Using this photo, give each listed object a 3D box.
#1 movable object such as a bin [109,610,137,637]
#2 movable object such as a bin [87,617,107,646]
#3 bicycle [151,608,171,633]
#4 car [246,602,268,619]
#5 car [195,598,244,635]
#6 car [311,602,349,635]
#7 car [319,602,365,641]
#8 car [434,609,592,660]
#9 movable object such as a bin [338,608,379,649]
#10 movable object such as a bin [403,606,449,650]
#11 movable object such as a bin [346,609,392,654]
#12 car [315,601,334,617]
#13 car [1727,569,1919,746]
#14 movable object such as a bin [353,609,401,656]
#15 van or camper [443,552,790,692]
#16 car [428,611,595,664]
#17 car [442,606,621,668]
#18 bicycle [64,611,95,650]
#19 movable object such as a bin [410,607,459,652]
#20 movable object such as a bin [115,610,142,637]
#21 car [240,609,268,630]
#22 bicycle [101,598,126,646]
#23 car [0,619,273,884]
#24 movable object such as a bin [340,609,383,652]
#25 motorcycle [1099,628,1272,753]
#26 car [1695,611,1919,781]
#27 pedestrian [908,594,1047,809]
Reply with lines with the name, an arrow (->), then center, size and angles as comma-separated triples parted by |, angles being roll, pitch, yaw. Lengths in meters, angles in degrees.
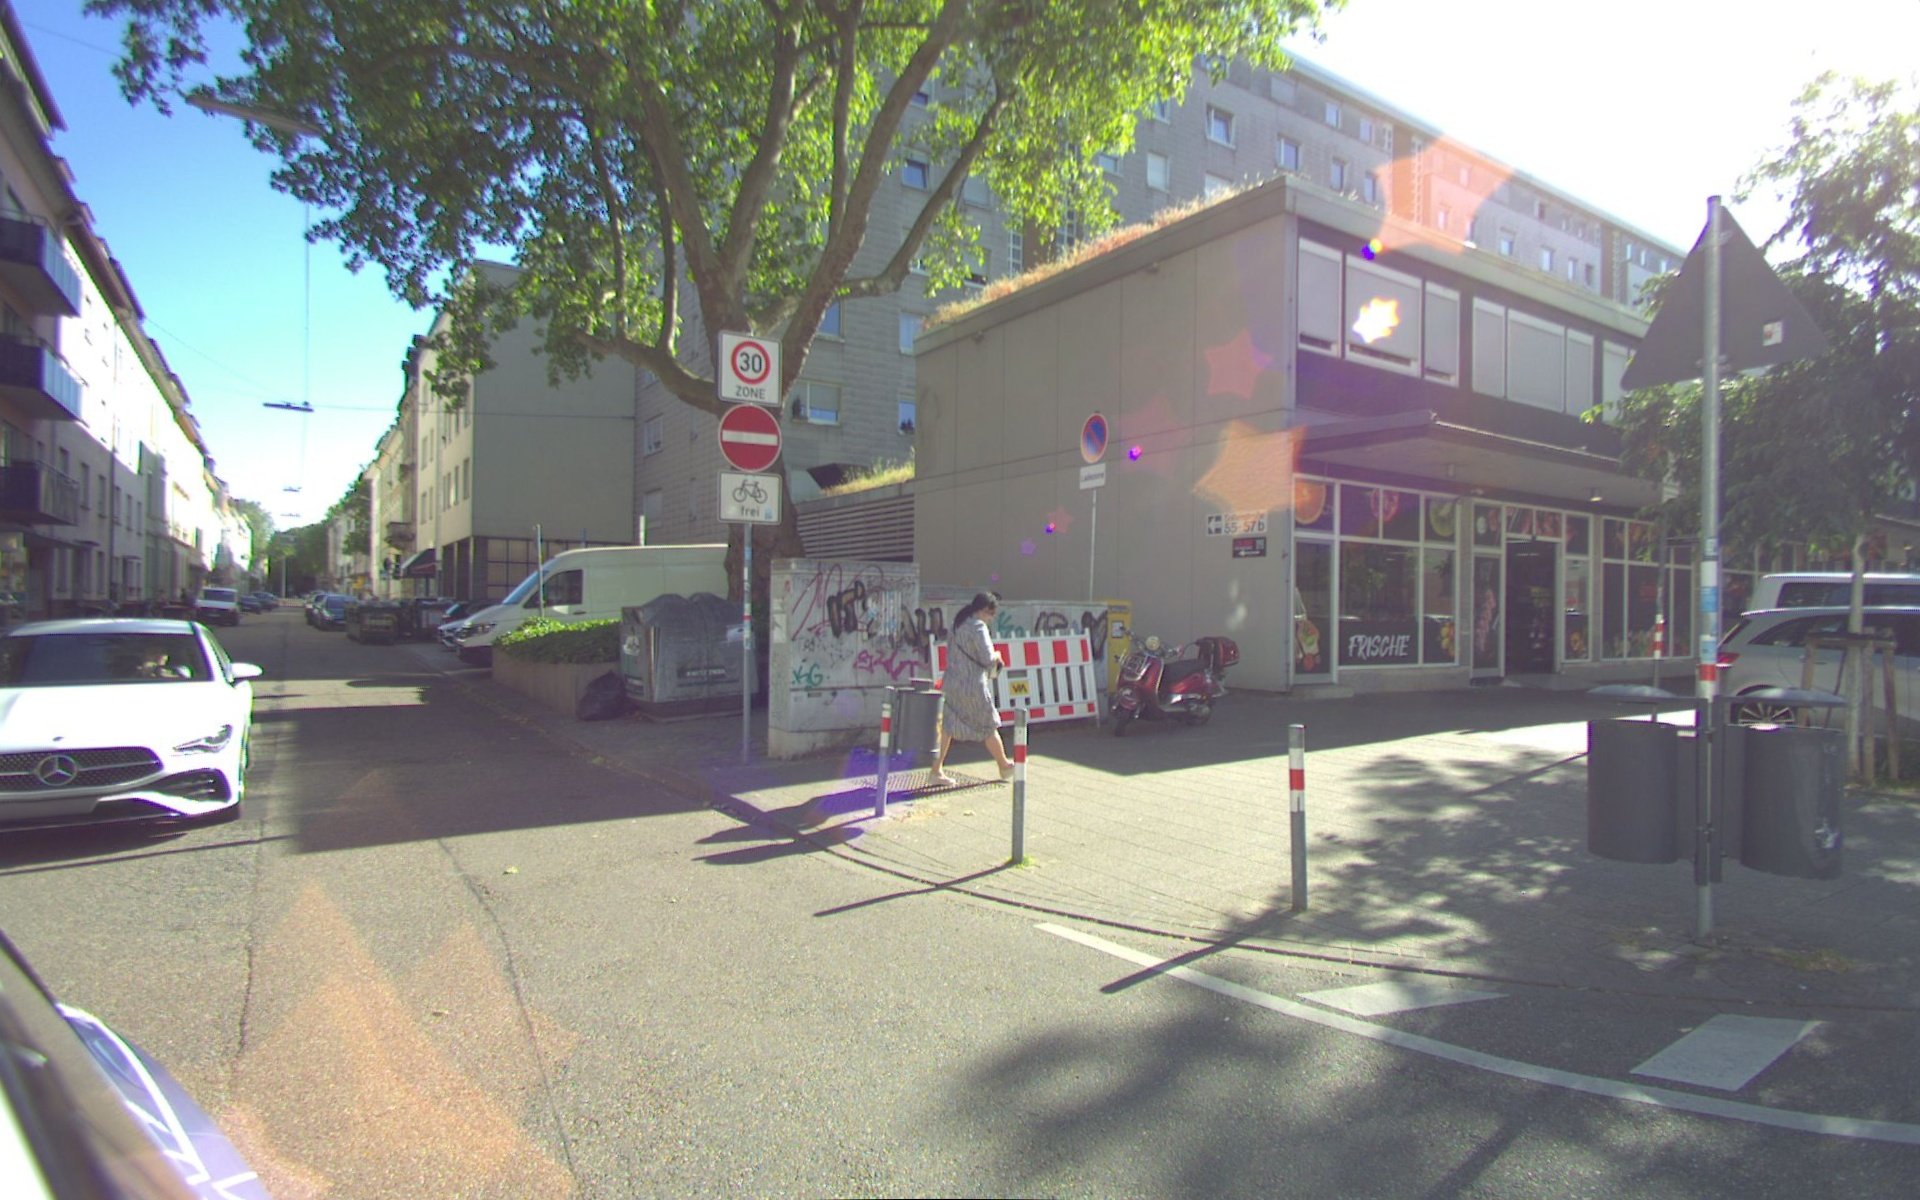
movable object such as a bin -> -32.415, 0.903, 39.204 | 0.705, 1.010, 0.548 | 5, -3, -35
movable object such as a bin -> -28.502, 1.039, 33.415 | 0.409, 0.947, 0.302 | 5, -3, -35
bicycle -> -36.495, 0.929, 46.228 | 0.482, 1.104, 1.938 | 1, -1, -32
car -> -73.501, 1.061, 105.870 | 1.737, 1.721, 4.339 | 1, -1, -33
car -> -38.377, 0.839, 52.504 | 1.736, 1.867, 4.340 | 1, -1, -32
car -> -35.305, 1.022, 56.674 | 1.736, 1.721, 4.340 | 1, -1, -32
car -> -28.816, 0.987, 47.144 | 1.736, 1.721, 4.340 | 1, -1, -32
car -> -14.335, 1.087, 32.555 | 4.348, 1.545, 1.702 | 1, -1, -39
movable object such as a bin -> -22.670, 1.062, 38.129 | 1.202, 1.512, 1.564 | 1, -1, -35
movable object such as a bin -> -18.749, 0.976, 35.517 | 1.202, 1.512, 1.521 | 1, -1, -35
movable object such as a bin -> -20.652, 1.067, 35.353 | 1.227, 1.512, 1.930 | 1, -1, -35
car -> -72.257, 1.043, 115.064 | 1.737, 1.721, 4.339 | 1, -1, -33
car -> 12.052, 0.686, 11.634 | 1.927, 2.021, 4.757 | 1, 0, -35
movable object such as a bin -> -19.580, 1.084, 33.979 | 1.221, 1.512, 1.882 | 1, -1, -35
van or camper -> -7.344, 0.345, 22.125 | 6.812, 2.593, 2.006 | -3, 1, -33
car -> -13.460, 1.103, 30.512 | 4.348, 1.474, 1.603 | 1, -1, -39
car -> -12.074, 1.012, 28.648 | 4.348, 1.629, 1.702 | 1, -1, -39
bicycle -> -27.183, 0.912, 31.258 | 0.396, 1.159, 2.030 | 1, -1, -32
movable object such as a bin -> -17.872, 0.993, 34.398 | 1.307, 1.512, 1.198 | 1, -1, -35
movable object such as a bin -> -32.668, 0.929, 39.749 | 0.705, 1.010, 0.548 | 5, -3, -35
car -> -59.111, 1.620, 84.761 | 1.737, 1.721, 4.339 | 1, -1, -33
bicycle -> -31.494, 0.812, 37.675 | 0.396, 1.749, 2.113 | 1, -1, -32
car -> -6.552, 0.914, 7.889 | 1.832, 1.468, 4.575 | 0, -1, -32
movable object such as a bin -> -21.749, 1.084, 36.794 | 1.202, 1.512, 1.564 | 1, -1, -35
motorcycle -> 2.447, 0.924, 10.888 | 1.889, 1.189, 0.672 | -1, 0, -33
car -> 10.085, 0.937, 9.934 | 1.729, 1.625, 4.315 | 1, -1, -34
pedestrian -> 0.121, 0.748, 8.014 | 0.832, 1.585, 0.849 | -1, 0, -19
